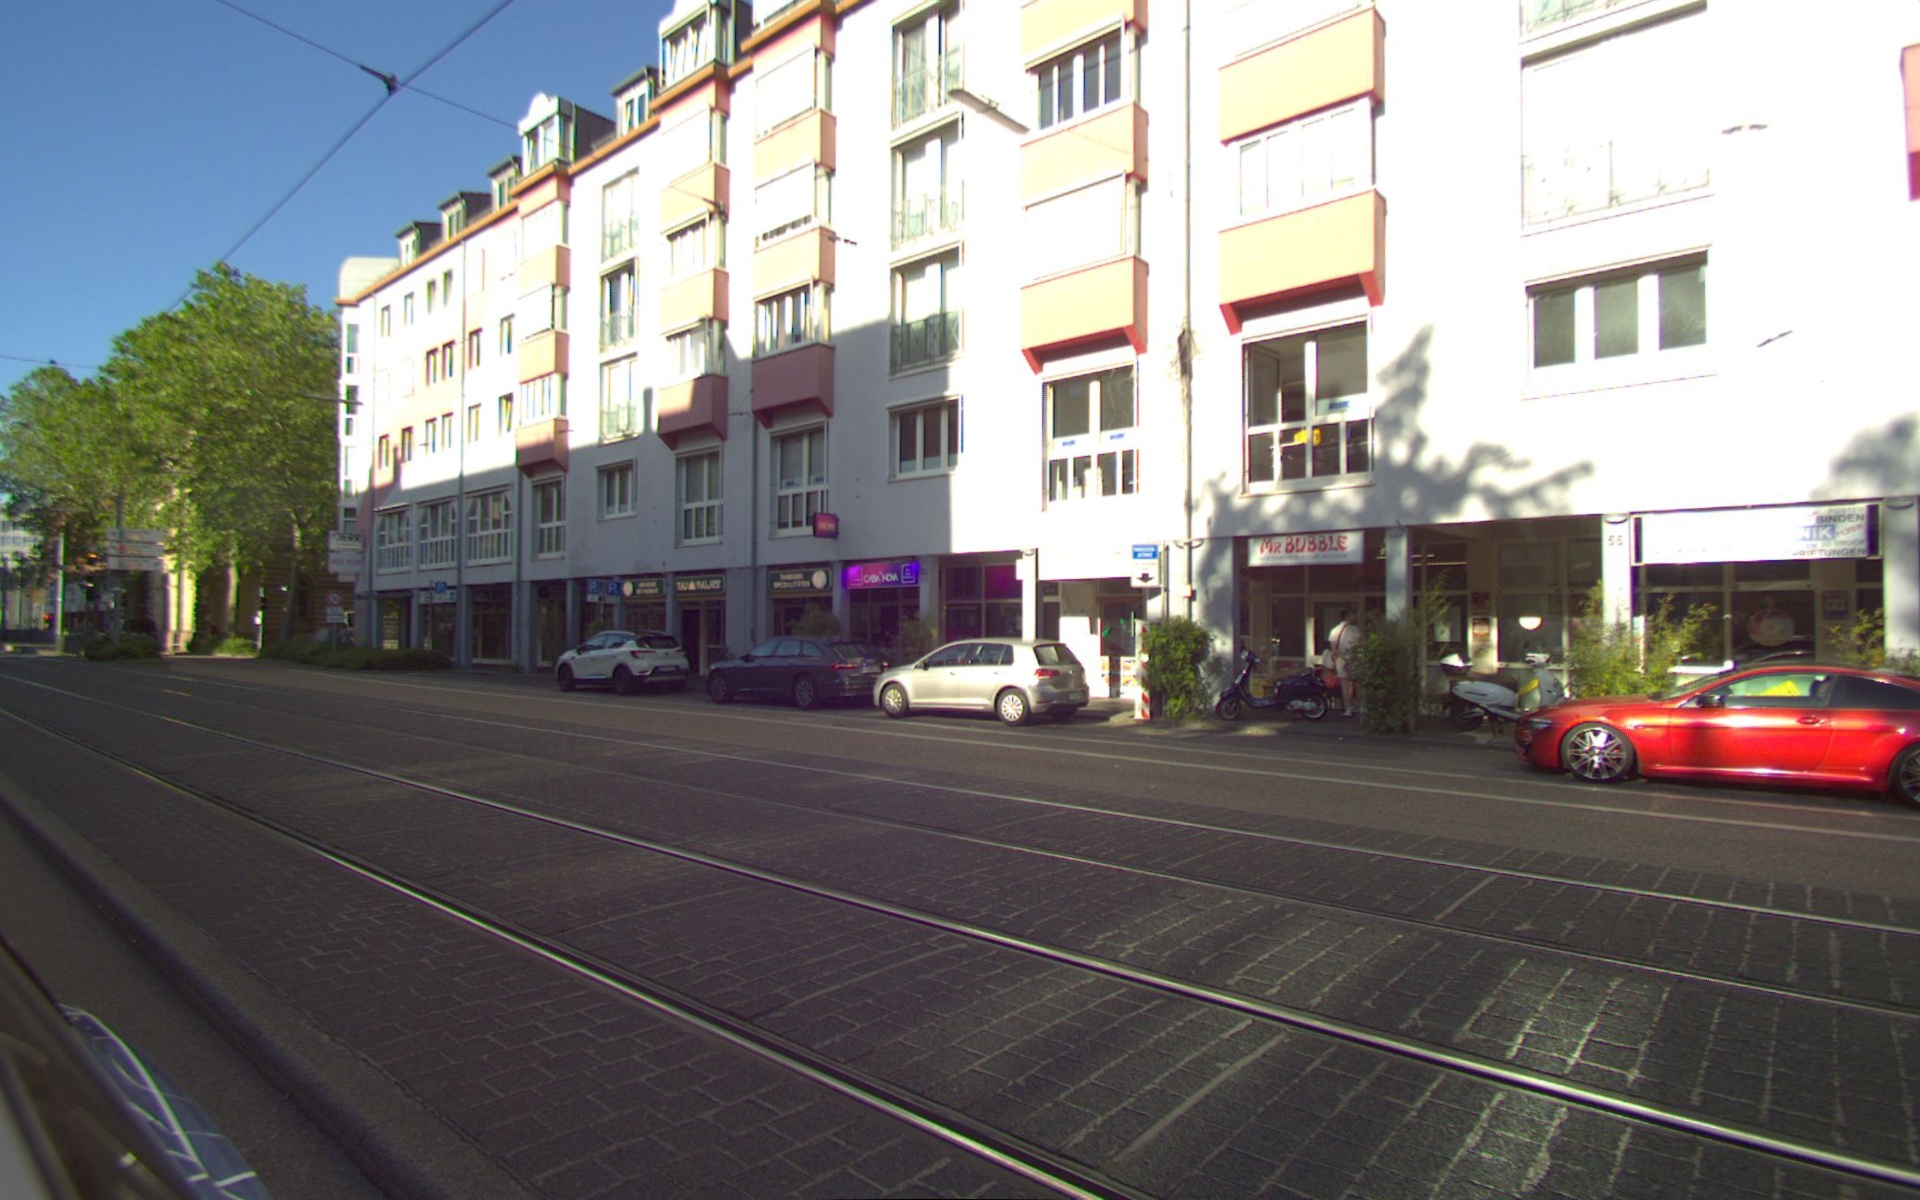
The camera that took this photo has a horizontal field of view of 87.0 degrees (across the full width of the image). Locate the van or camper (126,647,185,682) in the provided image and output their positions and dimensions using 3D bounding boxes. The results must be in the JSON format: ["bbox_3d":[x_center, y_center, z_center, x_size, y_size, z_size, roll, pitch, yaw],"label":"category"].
[{"bbox_3d":[-47.234,3.769,59.390,4.835,1.955,1.971,-3,-6,44],"label":"van or camper"}]

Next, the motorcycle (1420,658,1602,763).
[{"bbox_3d":[7.447,1.456,13.759,2.080,1.307,0.513,-3,-2,40],"label":"motorcycle"}]

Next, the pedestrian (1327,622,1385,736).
[{"bbox_3d":[6.706,1.319,17.122,0.715,1.857,0.813,-3,-2,31],"label":"pedestrian"}]

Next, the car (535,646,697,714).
[{"bbox_3d":[-8.941,2.000,26.187,4.364,1.626,1.899,-2,-3,38],"label":"car"}]

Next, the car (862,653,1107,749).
[{"bbox_3d":[0.361,1.712,18.043,4.202,1.486,1.734,-2,-3,38],"label":"car"}]

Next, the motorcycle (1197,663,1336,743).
[{"bbox_3d":[4.869,1.621,16.133,2.068,1.203,0.458,-2,-2,23],"label":"motorcycle"}]

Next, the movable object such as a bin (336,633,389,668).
[{"bbox_3d":[-36.109,3.056,61.180,2.604,2.029,1.179,1,-3,-26],"label":"movable object such as a bin"}]

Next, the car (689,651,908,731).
[{"bbox_3d":[-3.492,1.828,21.342,4.822,1.469,1.882,-2,-3,40],"label":"car"}]

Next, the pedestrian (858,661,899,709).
[{"bbox_3d":[-2.076,2.151,25.755,0.779,1.196,0.665,-2,-4,39],"label":"pedestrian"}]

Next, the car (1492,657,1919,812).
[{"bbox_3d":[8.563,1.326,10.789,4.817,1.335,1.940,-2,-2,40],"label":"car"}]
